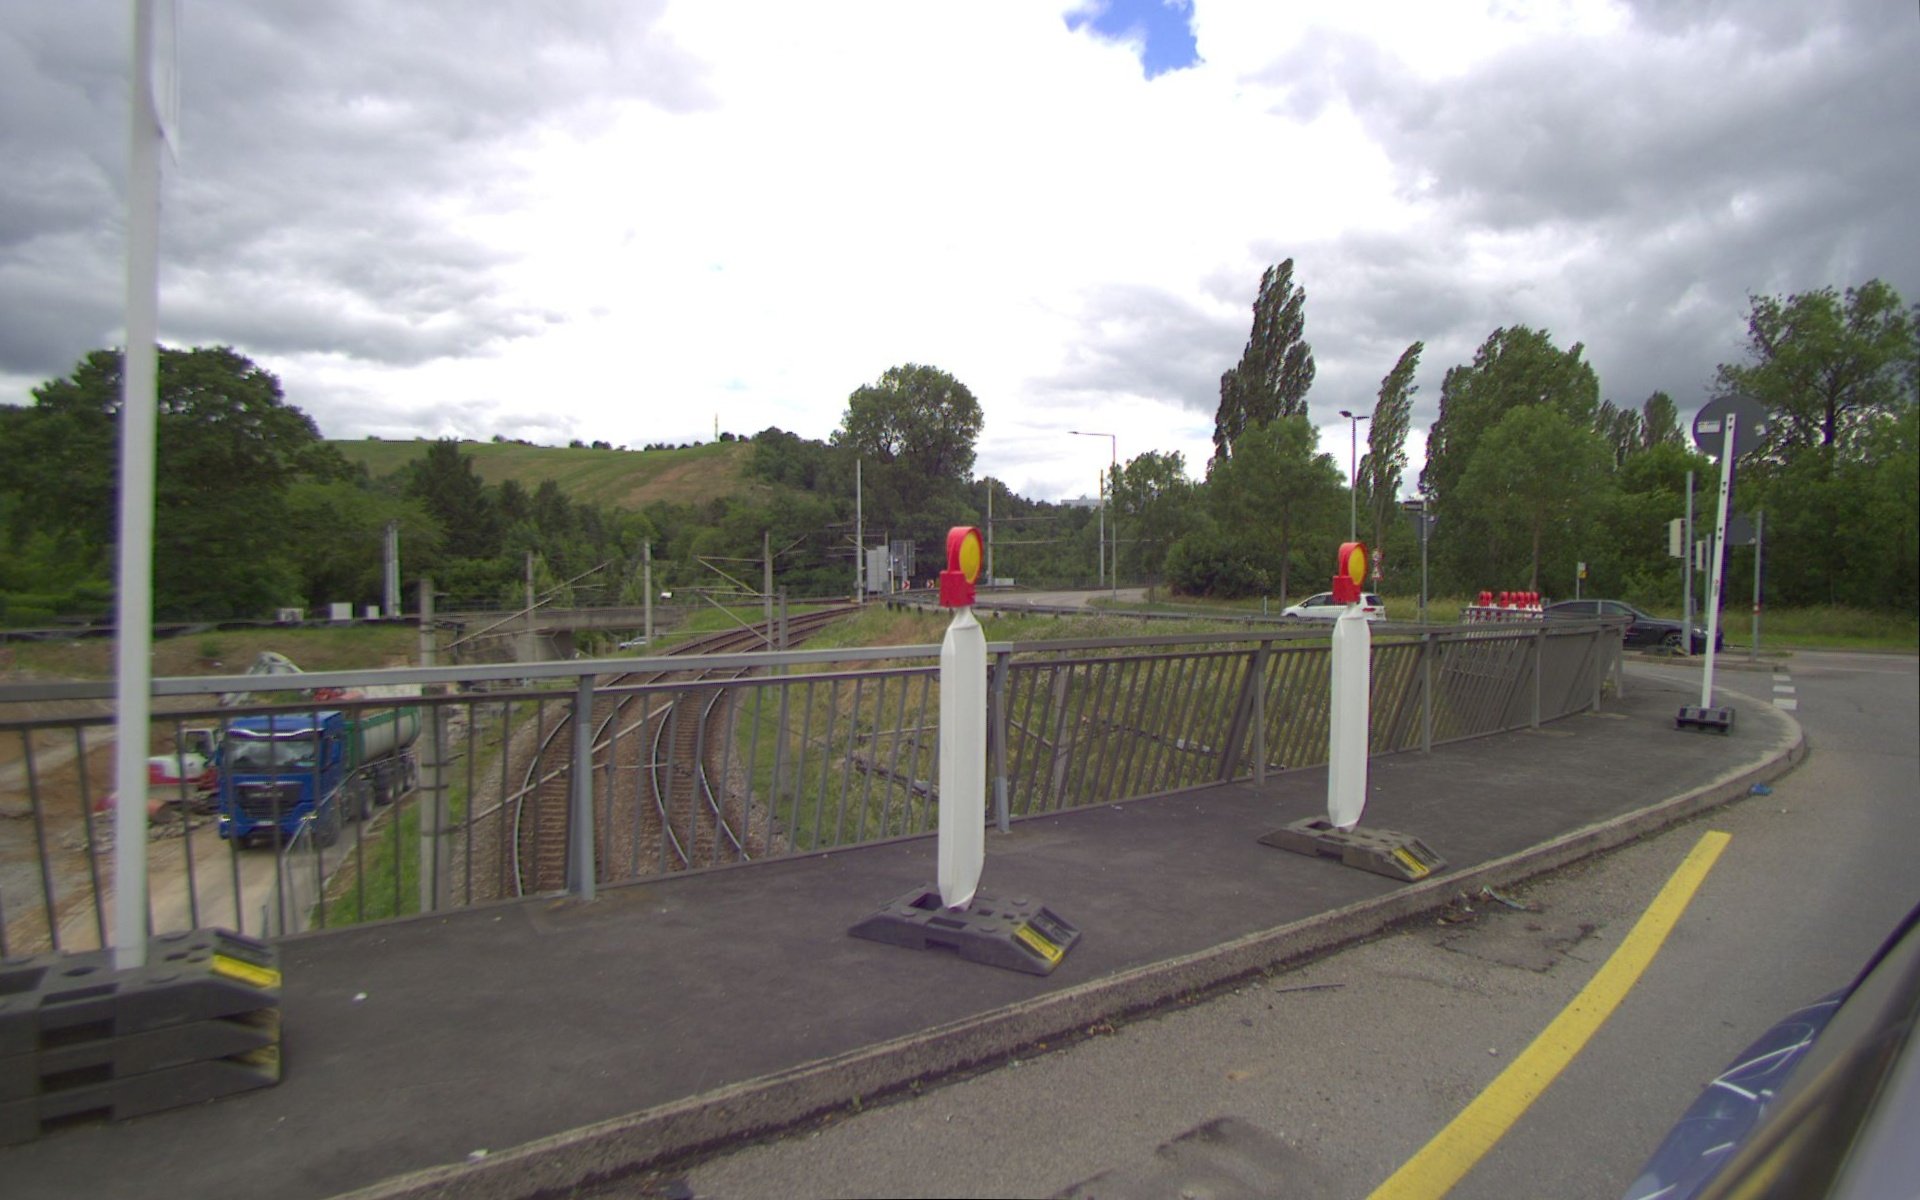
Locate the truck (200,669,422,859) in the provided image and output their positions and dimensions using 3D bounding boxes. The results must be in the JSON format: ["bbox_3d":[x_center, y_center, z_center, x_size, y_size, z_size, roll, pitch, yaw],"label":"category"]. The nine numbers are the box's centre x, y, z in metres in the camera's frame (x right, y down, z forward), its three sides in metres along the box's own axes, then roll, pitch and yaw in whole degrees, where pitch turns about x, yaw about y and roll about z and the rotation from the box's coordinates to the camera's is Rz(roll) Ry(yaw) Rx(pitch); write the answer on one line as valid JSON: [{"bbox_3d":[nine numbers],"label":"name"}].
[{"bbox_3d":[-19.899,4.621,32.044,2.787,3.942,11.645,0,1,-17],"label":"truck"}]

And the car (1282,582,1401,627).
[{"bbox_3d":[16.235,0.201,43.175,2.047,1.782,4.314,3,-2,-42],"label":"car"}]

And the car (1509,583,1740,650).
[{"bbox_3d":[17.714,0.397,27.161,4.947,1.495,1.850,3,1,43],"label":"car"}]

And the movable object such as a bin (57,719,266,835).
[{"bbox_3d":[-24.163,5.271,30.909,2.990,2.784,4.287,0,0,0],"label":"movable object such as a bin"}]
